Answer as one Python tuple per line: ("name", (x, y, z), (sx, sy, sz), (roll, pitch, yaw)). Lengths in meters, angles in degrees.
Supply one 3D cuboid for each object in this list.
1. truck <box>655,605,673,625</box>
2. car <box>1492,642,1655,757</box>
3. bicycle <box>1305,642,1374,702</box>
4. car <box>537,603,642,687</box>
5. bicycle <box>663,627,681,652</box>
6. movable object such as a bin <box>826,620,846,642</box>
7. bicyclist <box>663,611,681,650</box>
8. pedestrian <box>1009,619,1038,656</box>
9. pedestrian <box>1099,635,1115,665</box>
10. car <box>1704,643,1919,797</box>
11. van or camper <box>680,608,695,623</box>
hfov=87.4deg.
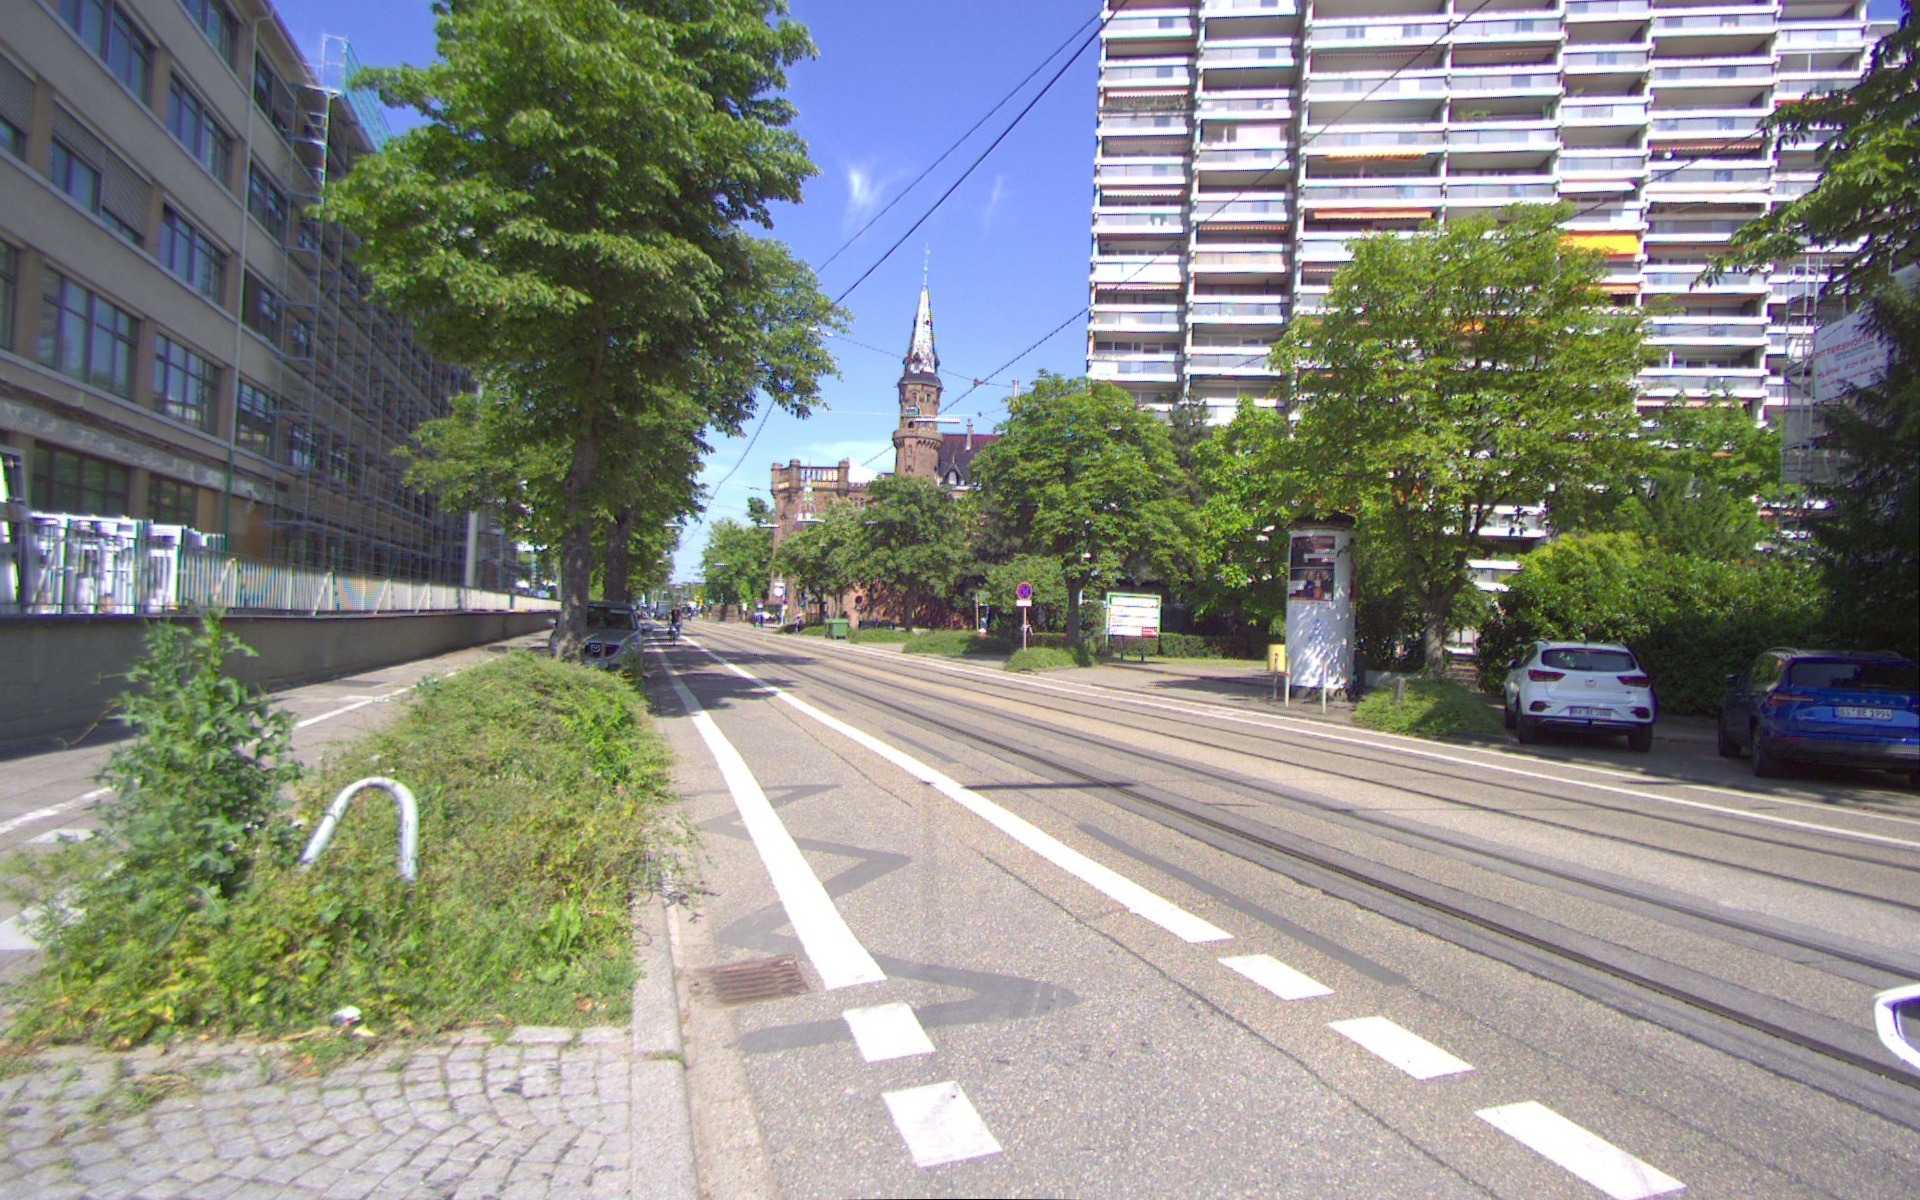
("truck", (-46.247, 2.303, 156.941), (2.526, 2.977, 5.059), (2, -1, -18))
("car", (9.976, 1.537, 16.622), (1.785, 1.627, 3.944), (0, -3, 24))
("bicycle", (9.114, 1.721, 24.193), (0.539, 1.325, 1.612), (4, -2, -24))
("car", (-7.687, 0.902, 21.083), (1.793, 1.514, 4.091), (3, -2, -19))
("bicycle", (-12.407, 1.685, 43.202), (0.588, 1.020, 1.480), (3, -2, -20))
("movable object such as a bin", (-8.877, 2.226, 72.098), (1.244, 1.472, 1.077), (4, -1, -13))
("bicyclist", (-12.407, 1.307, 43.277), (0.623, 1.627, 0.699), (3, -1, -21))
("pedestrian", (3.277, 1.945, 52.043), (1.043, 1.821, 1.261), (5, -2, -15))
("pedestrian", (6.036, 2.056, 41.287), (0.523, 1.169, 0.702), (3, -2, 3))
("car", (11.273, 1.448, 13.359), (1.749, 1.644, 3.938), (1, -1, 30))
("van or camper", (-50.588, 2.879, 186.424), (2.019, 2.654, 5.836), (3, -2, -19))
